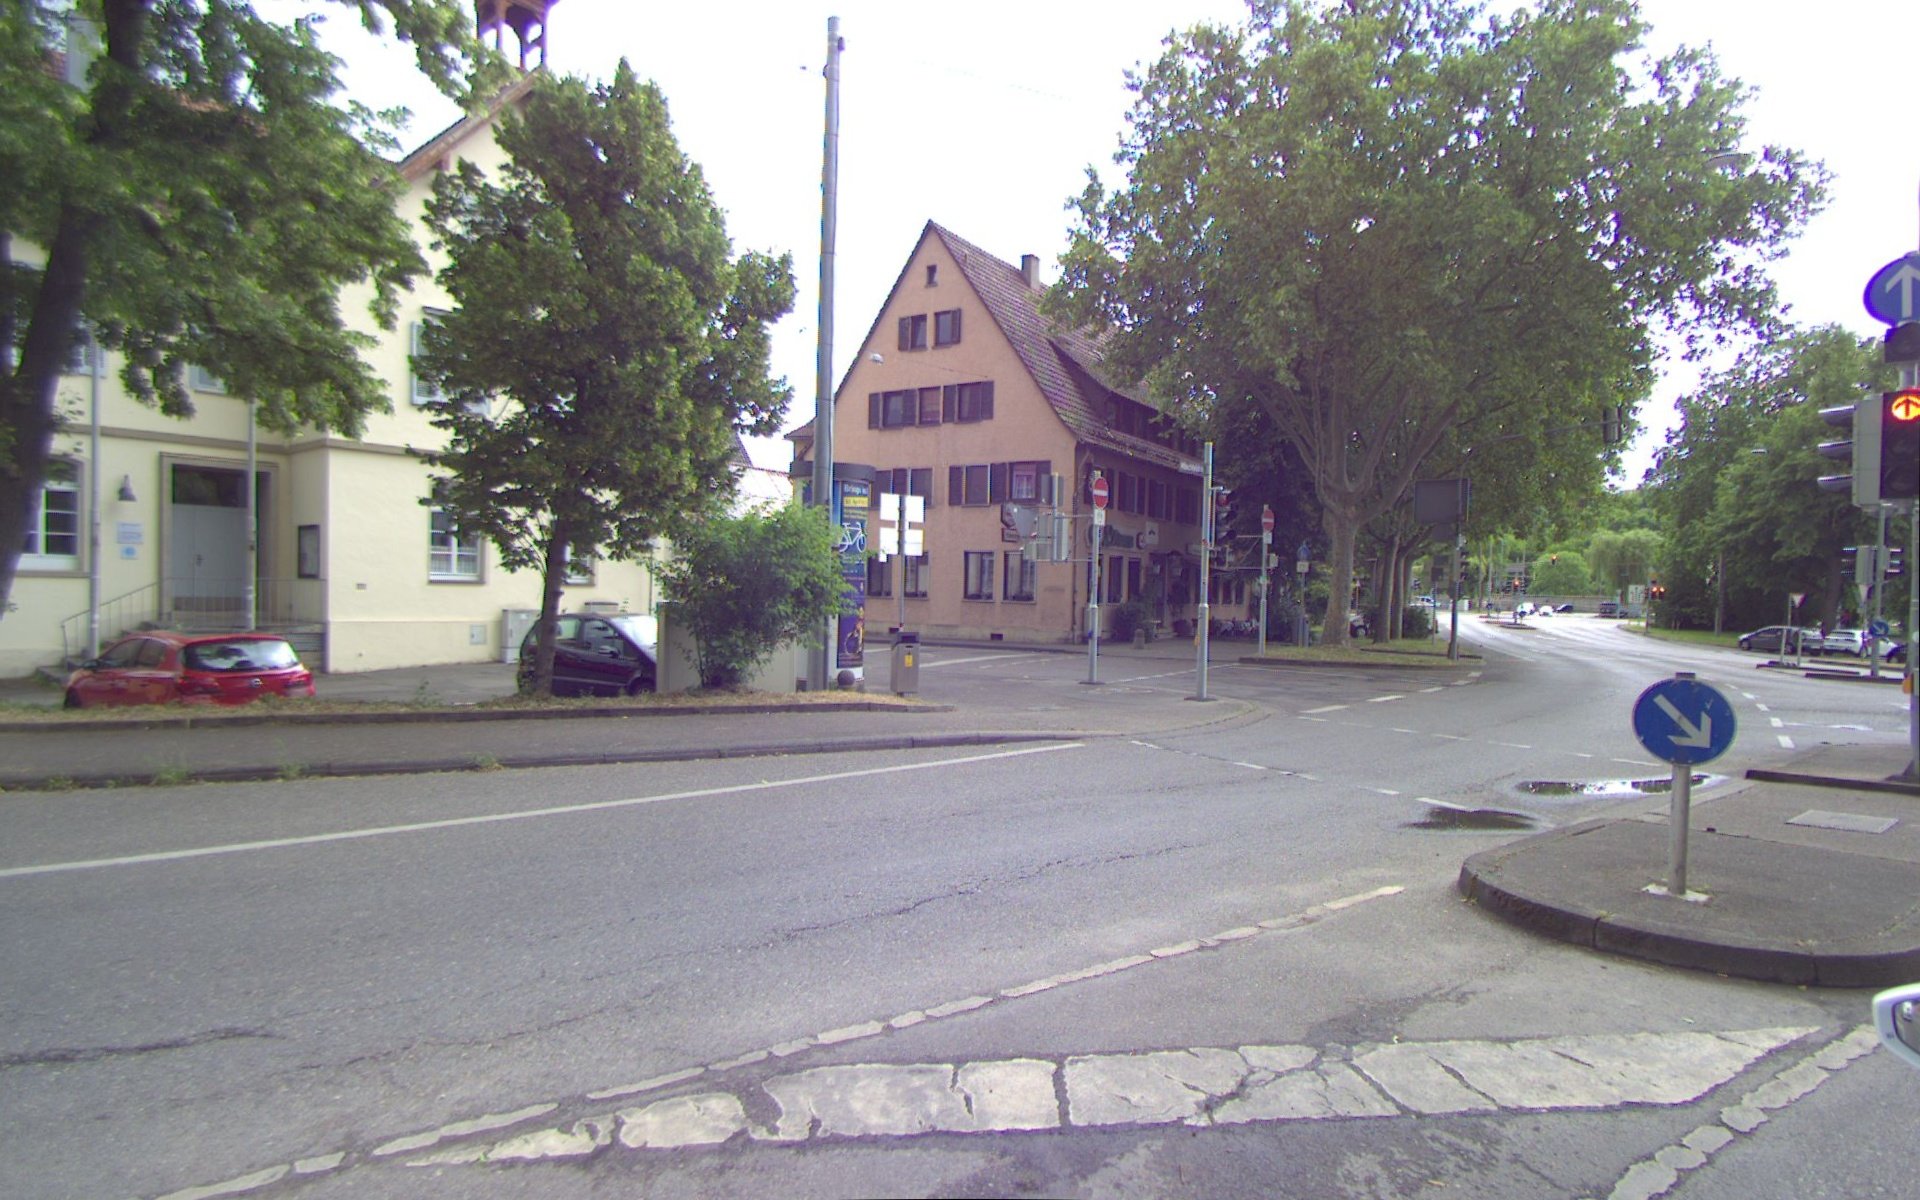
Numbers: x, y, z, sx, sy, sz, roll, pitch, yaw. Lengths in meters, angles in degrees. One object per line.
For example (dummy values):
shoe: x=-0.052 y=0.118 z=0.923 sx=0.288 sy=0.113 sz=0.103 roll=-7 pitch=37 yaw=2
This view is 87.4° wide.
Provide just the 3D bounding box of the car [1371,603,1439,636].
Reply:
car: x=25.473 y=1.088 z=57.477 sx=3.387 sy=1.765 sz=1.570 roll=2 pitch=0 yaw=28

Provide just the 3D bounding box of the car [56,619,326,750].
car: x=-10.170 y=1.013 z=13.255 sx=3.492 sy=1.397 sz=1.605 roll=2 pitch=0 yaw=30

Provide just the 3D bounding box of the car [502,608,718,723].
car: x=-5.759 y=1.006 z=16.603 sx=3.035 sy=1.654 sz=1.607 roll=2 pitch=0 yaw=22

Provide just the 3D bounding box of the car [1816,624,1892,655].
car: x=47.306 y=2.084 z=53.171 sx=3.342 sy=1.484 sz=1.543 roll=2 pitch=0 yaw=-19

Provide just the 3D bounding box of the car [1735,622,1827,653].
car: x=43.867 y=1.970 z=53.770 sx=1.559 sy=1.484 sz=3.543 roll=2 pitch=0 yaw=-17

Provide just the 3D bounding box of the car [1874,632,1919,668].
car: x=39.573 y=2.079 z=40.954 sx=1.442 sy=1.412 sz=3.596 roll=2 pitch=0 yaw=3

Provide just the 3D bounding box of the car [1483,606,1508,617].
car: x=100.739 y=2.136 z=188.986 sx=3.928 sy=2.040 sz=1.996 roll=2 pitch=0 yaw=30

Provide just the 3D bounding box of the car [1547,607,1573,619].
car: x=108.231 y=2.324 z=181.101 sx=3.928 sy=2.040 sz=1.996 roll=2 pitch=0 yaw=30

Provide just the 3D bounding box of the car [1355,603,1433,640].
car: x=21.412 y=1.049 z=49.592 sx=3.387 sy=1.663 sz=1.570 roll=2 pitch=0 yaw=28
